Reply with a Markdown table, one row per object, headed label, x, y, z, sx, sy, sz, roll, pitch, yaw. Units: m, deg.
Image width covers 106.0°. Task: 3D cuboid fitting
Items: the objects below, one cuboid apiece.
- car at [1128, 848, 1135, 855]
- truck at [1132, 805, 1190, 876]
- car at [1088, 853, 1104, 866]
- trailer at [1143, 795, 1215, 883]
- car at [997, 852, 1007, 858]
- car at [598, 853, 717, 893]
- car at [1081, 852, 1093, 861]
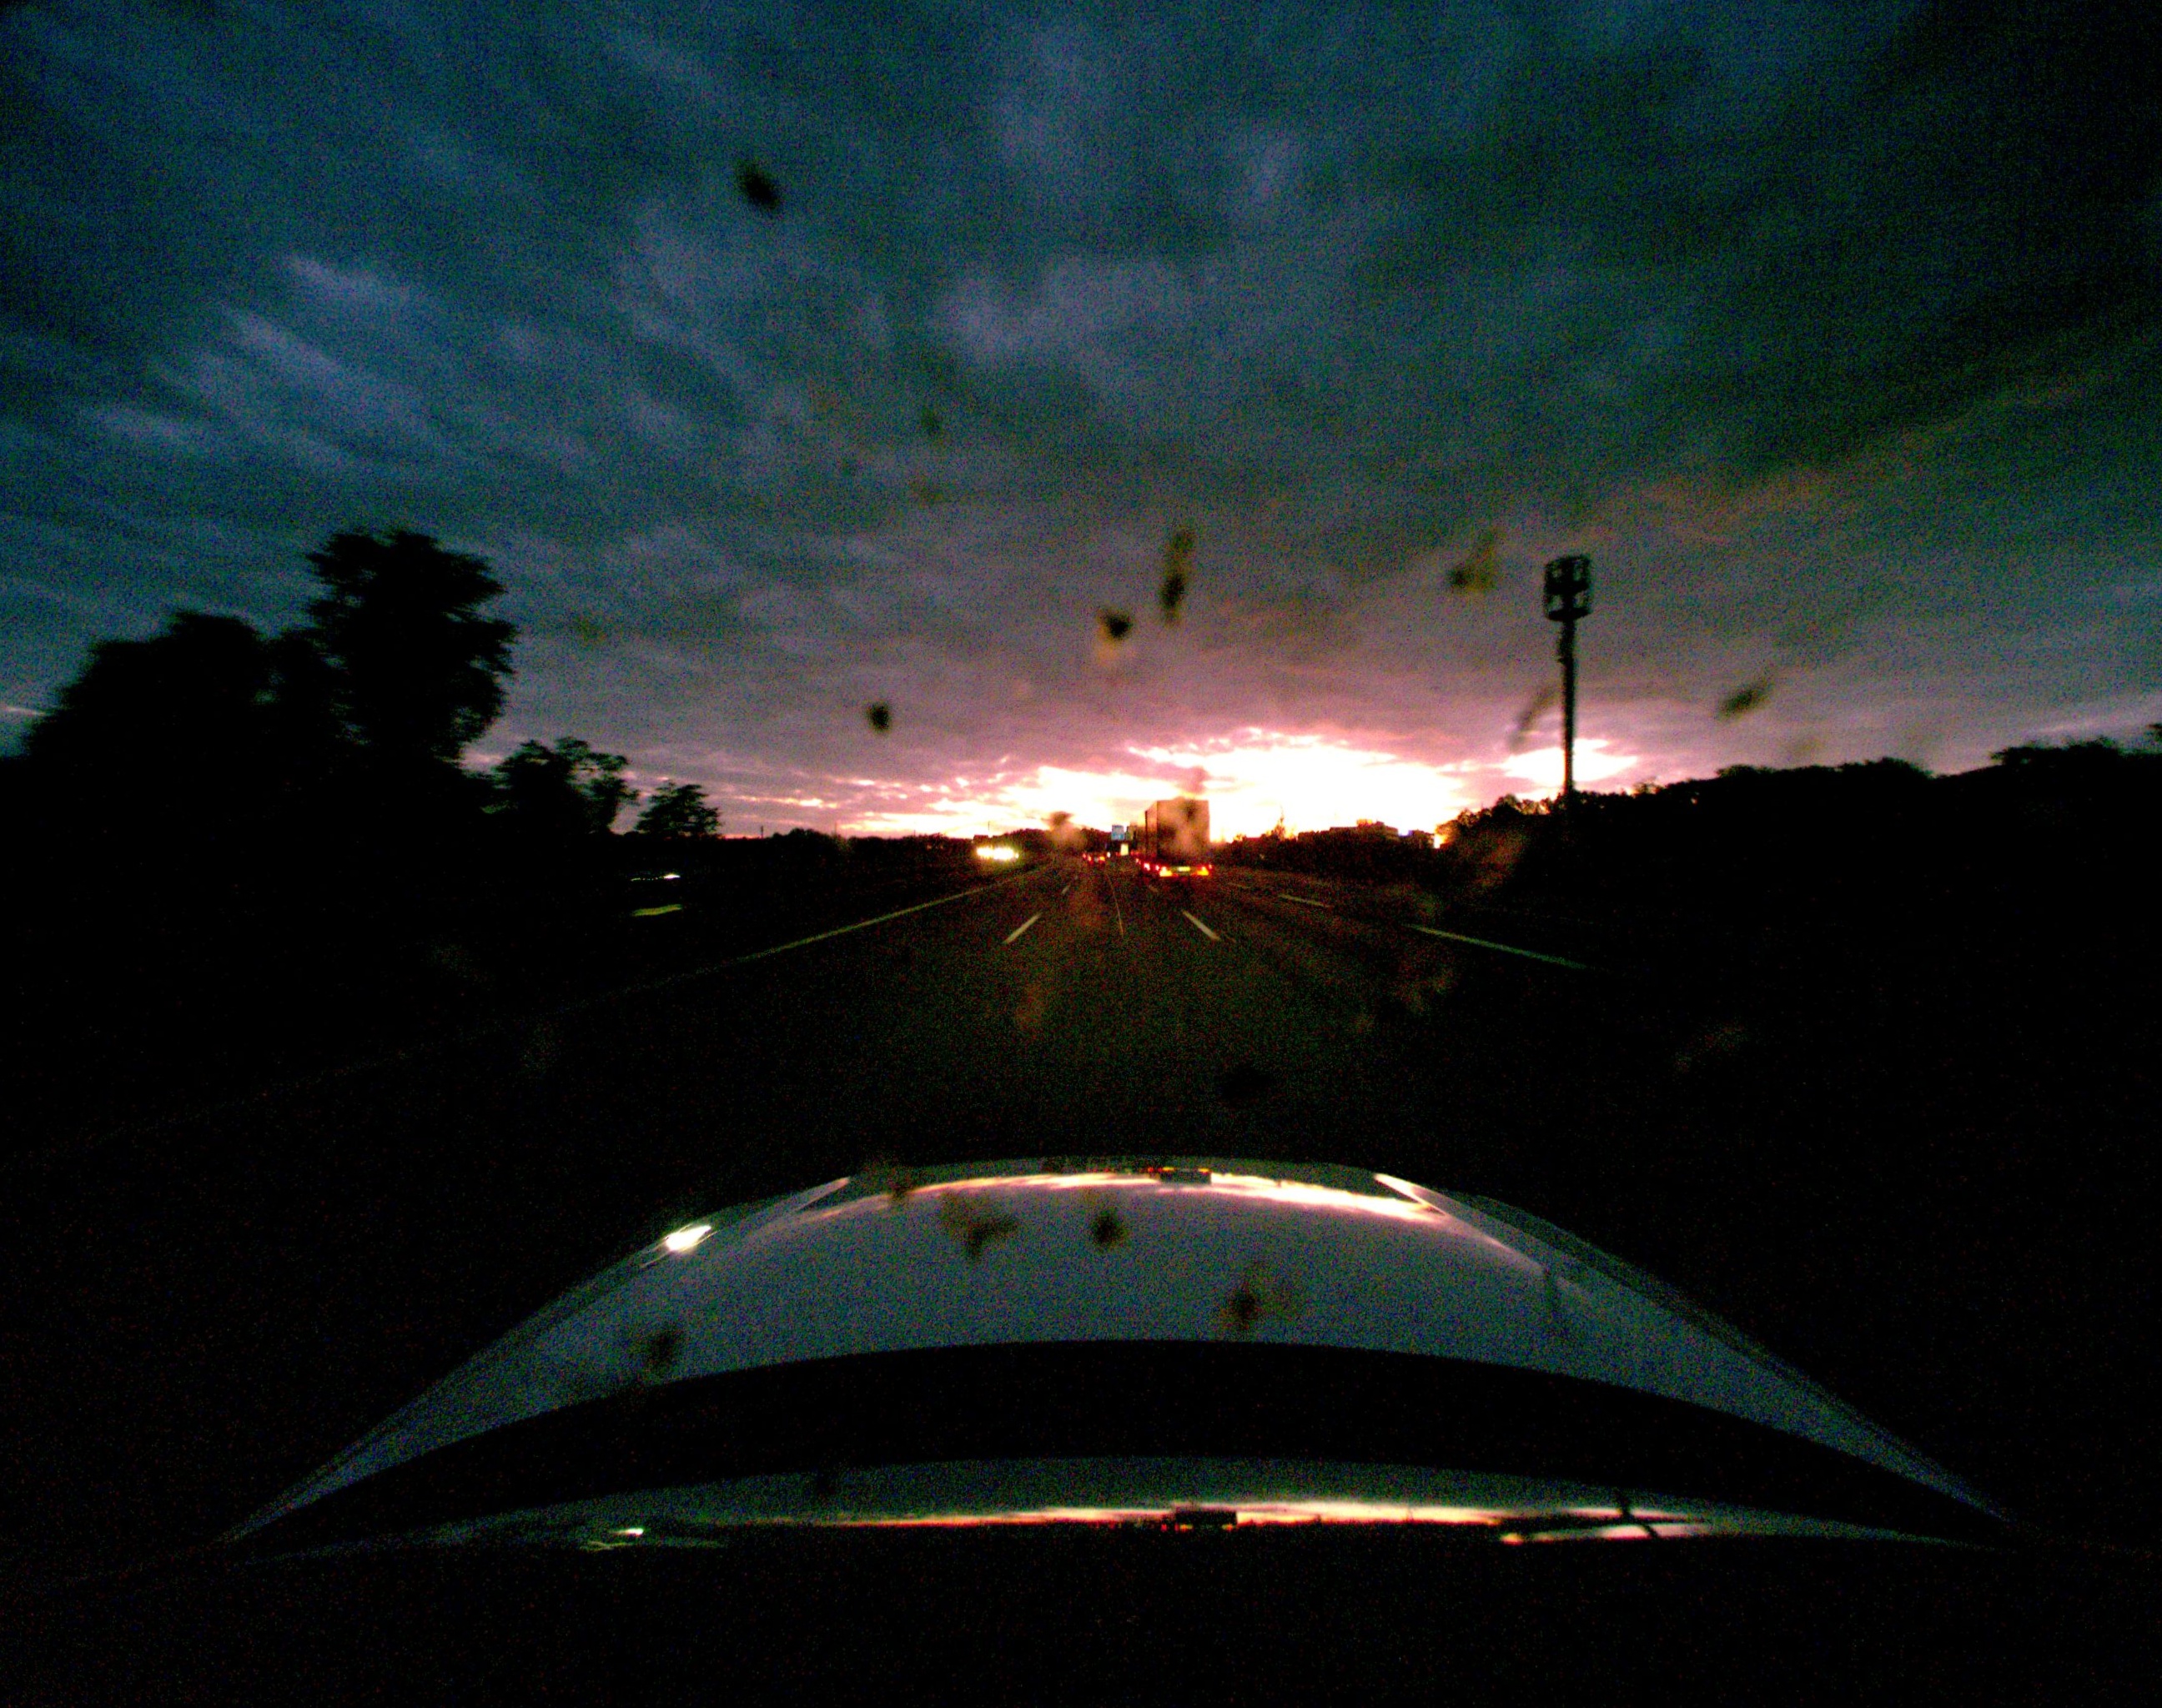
| label | x | y | z | sx | sy | sz | roll | pitch | yaw |
| --- | --- | --- | --- | --- | --- | --- | --- | --- | --- |
| car | 13.950 | -0.647 | 225.379 | 1.984 | 1.717 | 4.005 | 0 | -2 | 5 |
| truck | 4.982 | -0.812 | 52.290 | 2.681 | 4.071 | 10.519 | -1 | 0 | 0 |
| car | 1.651 | 0.642 | 90.511 | 1.684 | 1.401 | 3.408 | -1 | -1 | 0 |
| trailer | 4.925 | -0.738 | 42.612 | 2.713 | 4.071 | 8.830 | -1 | 0 | 0 |
| car | -17.888 | 0.194 | 184.413 | 1.716 | 1.227 | 4.182 | -1 | 0 | 0 |
| car | -16.213 | 0.669 | 31.518 | 1.987 | 1.358 | 4.865 | -1 | 0 | 0 |
| car | 1.072 | 0.428 | 143.538 | 1.681 | 1.401 | 3.414 | -2 | -2 | 6 |
